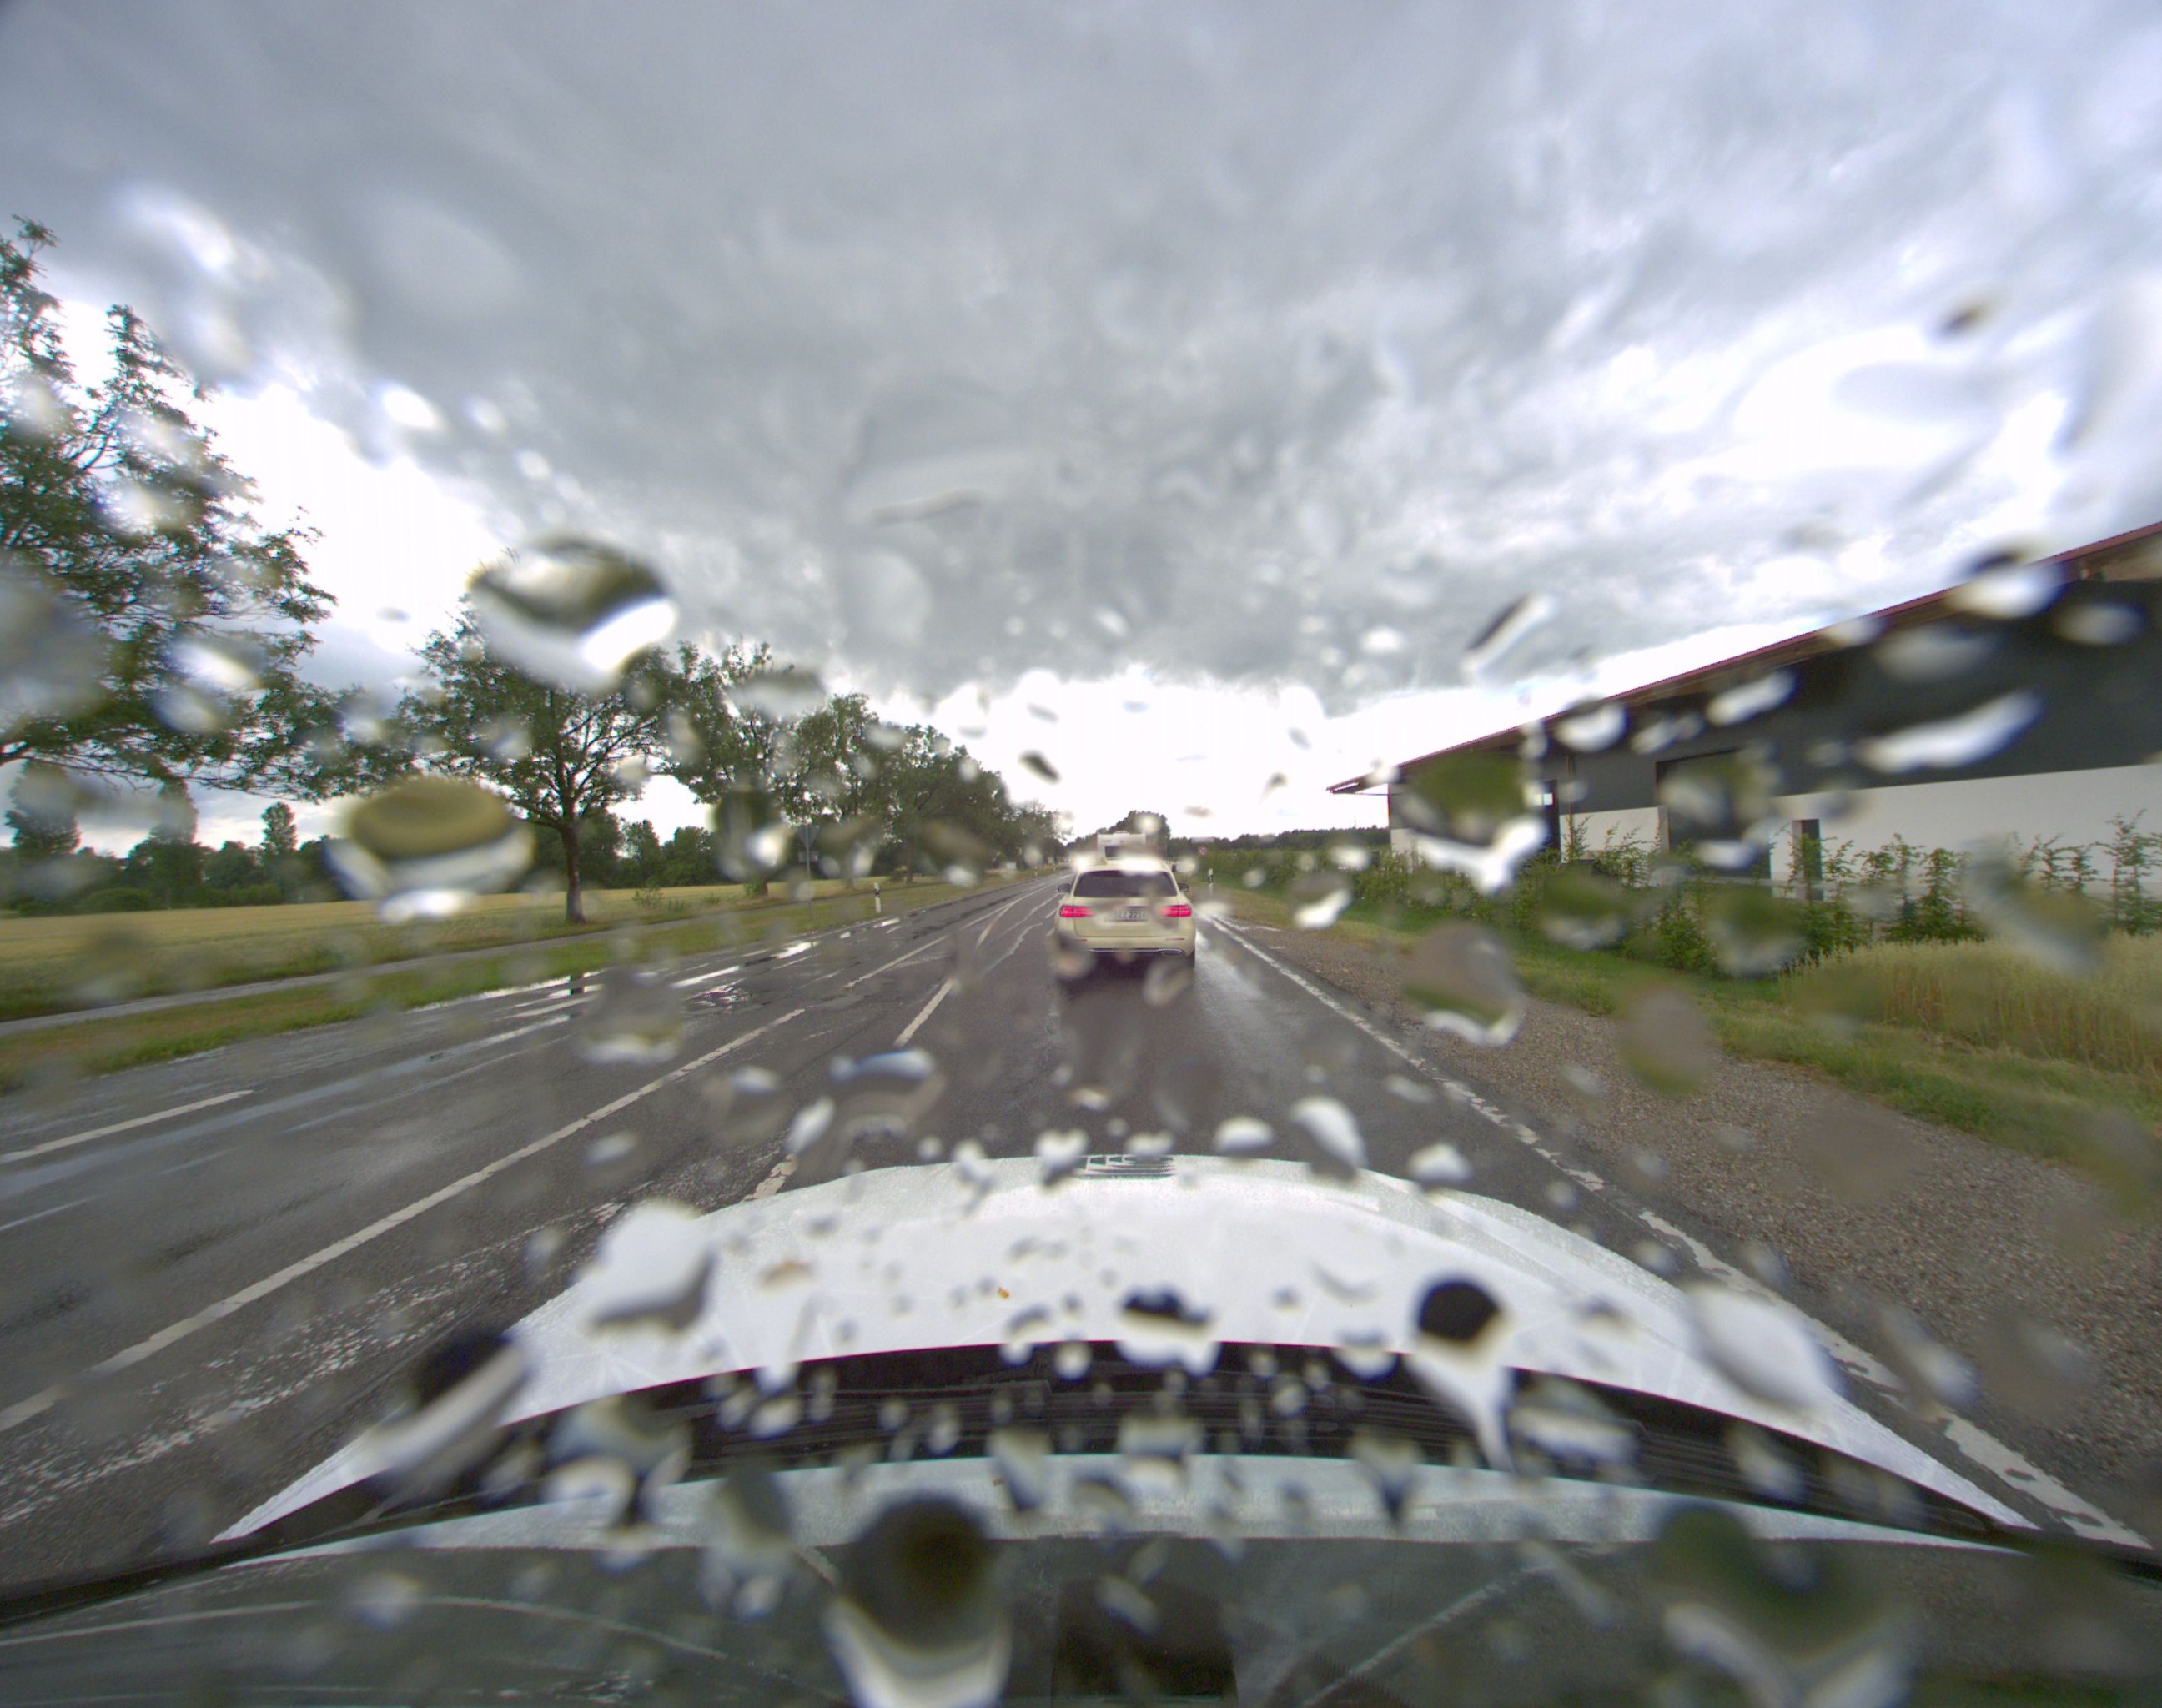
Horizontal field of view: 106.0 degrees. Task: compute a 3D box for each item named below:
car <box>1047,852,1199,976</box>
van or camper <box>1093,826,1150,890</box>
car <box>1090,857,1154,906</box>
[{"bbox_3d":[0.600,0.727,11.762,1.790,1.464,4.033,-1,0,3],"label":"car"},{"bbox_3d":[2.019,0.202,40.534,2.486,2.831,5.939,-3,0,3],"label":"van or camper"},{"bbox_3d":[1.309,0.839,26.367,1.887,1.429,3.930,-1,0,2],"label":"car"}]
